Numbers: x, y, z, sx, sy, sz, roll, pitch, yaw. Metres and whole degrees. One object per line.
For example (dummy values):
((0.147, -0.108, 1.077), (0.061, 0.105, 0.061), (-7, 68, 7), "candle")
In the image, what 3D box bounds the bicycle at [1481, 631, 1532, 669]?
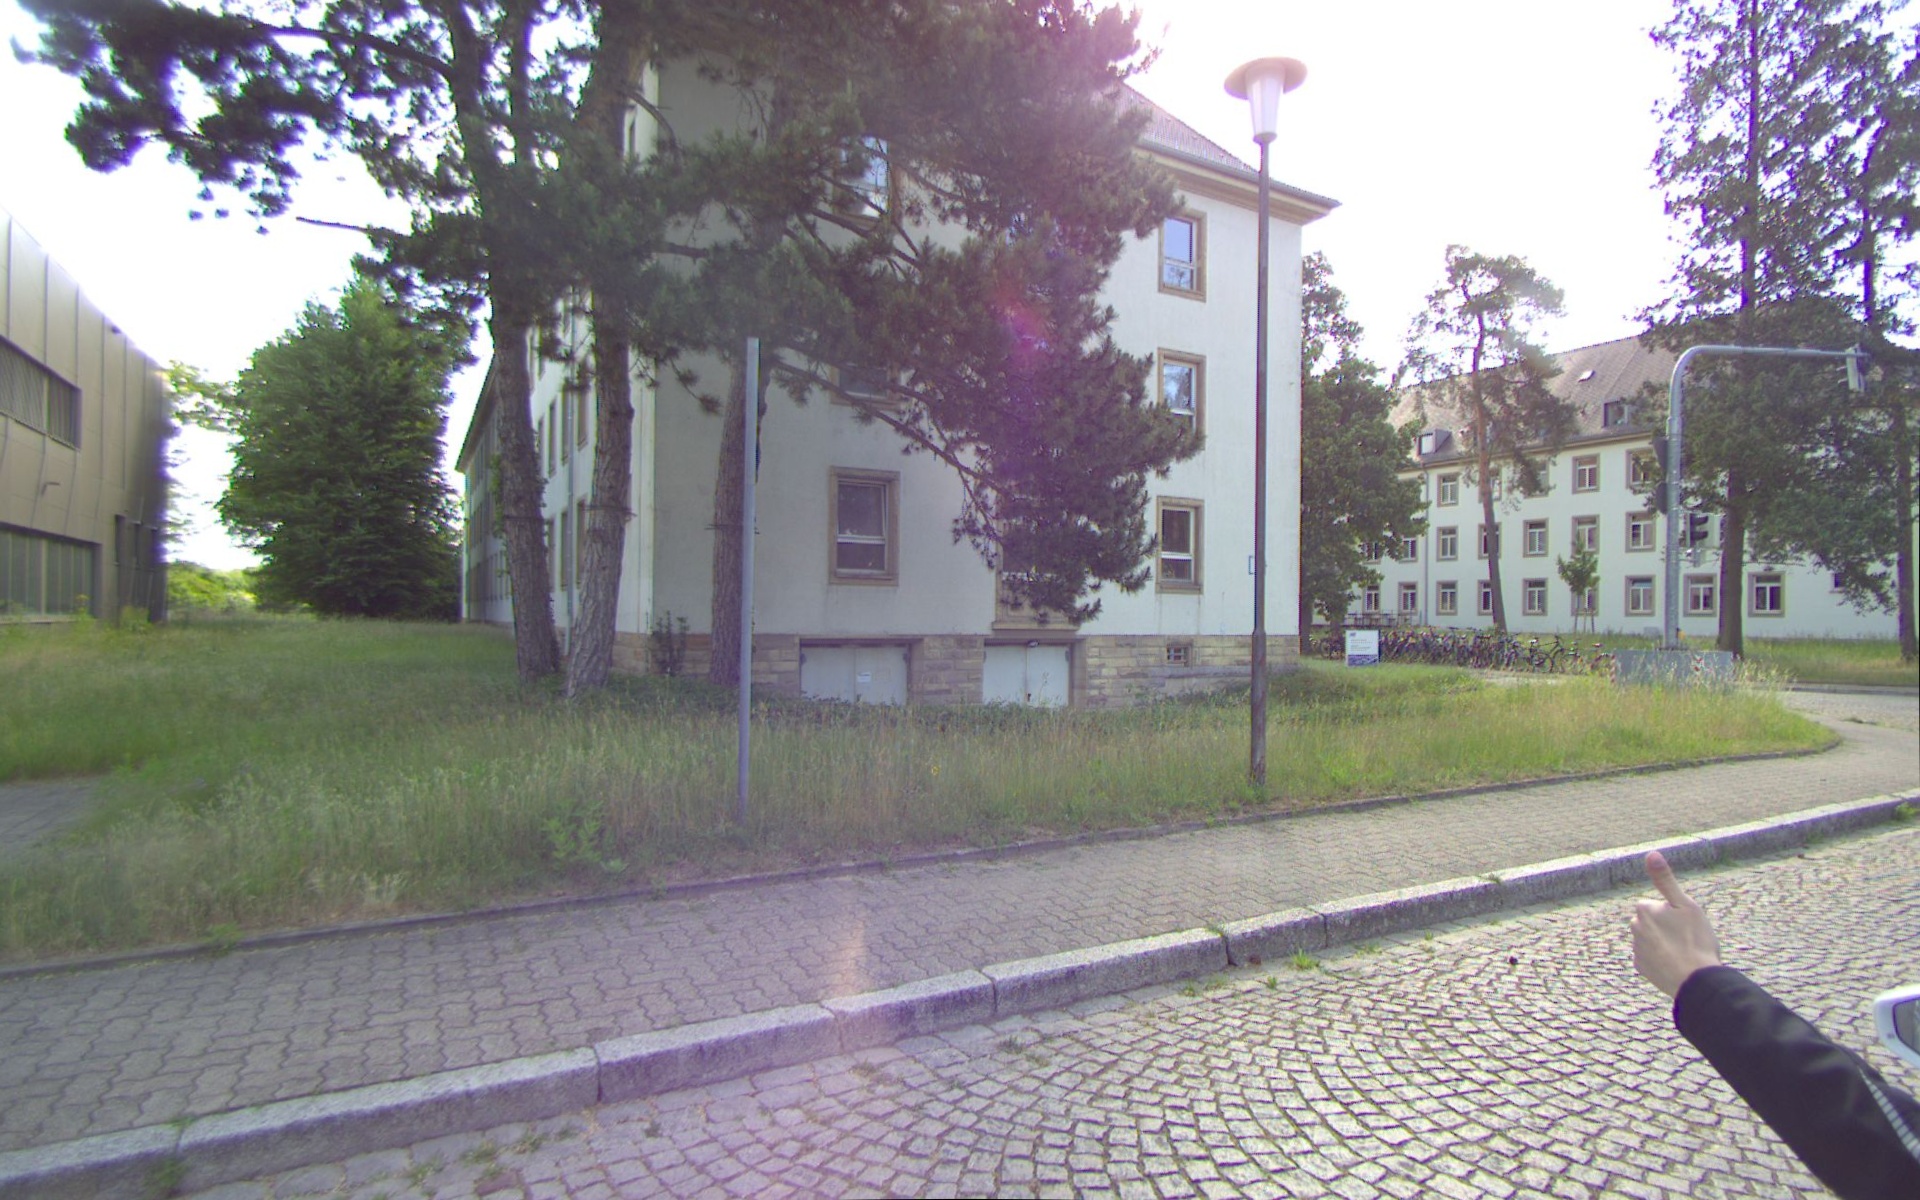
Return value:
((18.041, 1.637, 33.142), (1.966, 1.237, 0.569), (1, -1, -31), "bicycle")

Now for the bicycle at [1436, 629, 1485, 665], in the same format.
((17.382, 1.623, 34.879), (1.992, 1.237, 0.511), (1, -1, -31), "bicycle")

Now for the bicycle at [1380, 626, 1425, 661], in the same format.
((16.223, 1.592, 36.799), (1.914, 1.237, 0.511), (1, -1, -31), "bicycle")

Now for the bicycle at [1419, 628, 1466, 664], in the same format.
((17.027, 1.616, 35.420), (1.954, 1.237, 0.511), (1, -1, -31), "bicycle")

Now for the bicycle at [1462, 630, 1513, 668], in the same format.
((17.786, 1.633, 33.859), (2.005, 1.237, 0.576), (1, -1, -31), "bicycle")

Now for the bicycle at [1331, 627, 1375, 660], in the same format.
((15.170, 1.663, 38.744), (1.914, 1.237, 0.511), (1, -1, -31), "bicycle")

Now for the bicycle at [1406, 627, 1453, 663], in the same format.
((16.769, 1.606, 35.868), (1.954, 1.237, 0.511), (1, -1, -31), "bicycle")

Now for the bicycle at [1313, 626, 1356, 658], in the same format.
((14.749, 1.654, 39.512), (1.914, 1.237, 0.511), (1, -1, -31), "bicycle")

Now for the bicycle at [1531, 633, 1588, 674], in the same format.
((18.662, 1.648, 31.255), (2.089, 1.237, 0.630), (1, -1, -31), "bicycle")

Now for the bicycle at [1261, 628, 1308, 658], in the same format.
((13.414, 1.779, 41.564), (1.792, 1.237, 0.516), (0, -1, 7), "bicycle")

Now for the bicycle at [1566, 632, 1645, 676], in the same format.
((19.287, 1.595, 30.045), (0.627, 1.237, 1.936), (1, -1, -29), "bicycle")

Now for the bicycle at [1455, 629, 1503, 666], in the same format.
((17.866, 1.633, 34.571), (1.877, 1.237, 0.545), (1, -1, -31), "bicycle")

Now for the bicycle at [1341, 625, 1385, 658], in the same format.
((15.395, 1.575, 38.338), (1.914, 1.237, 0.511), (1, -1, -31), "bicycle")

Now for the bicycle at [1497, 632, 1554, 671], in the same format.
((18.130, 1.638, 32.202), (2.080, 1.237, 0.630), (1, -1, -31), "bicycle")

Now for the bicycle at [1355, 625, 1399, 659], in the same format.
((15.702, 1.581, 37.812), (1.914, 1.237, 0.511), (1, -1, -31), "bicycle")

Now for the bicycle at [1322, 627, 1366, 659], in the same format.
((14.961, 1.658, 39.118), (1.914, 1.237, 0.511), (1, -1, -31), "bicycle")

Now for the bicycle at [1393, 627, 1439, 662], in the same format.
((16.485, 1.598, 36.310), (1.931, 1.237, 0.511), (1, -1, -31), "bicycle")

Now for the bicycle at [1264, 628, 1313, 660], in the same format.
((13.113, 1.730, 40.101), (1.794, 1.237, 0.515), (0, -1, 25), "bicycle")

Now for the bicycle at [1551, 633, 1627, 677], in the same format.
((18.629, 1.603, 29.776), (0.627, 1.237, 1.853), (1, -1, -29), "bicycle")

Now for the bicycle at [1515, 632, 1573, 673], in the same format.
((18.418, 1.644, 31.672), (2.099, 1.237, 0.630), (1, -1, -31), "bicycle")

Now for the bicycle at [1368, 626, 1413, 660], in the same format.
((15.976, 1.587, 37.286), (1.914, 1.237, 0.511), (1, -1, -31), "bicycle")
